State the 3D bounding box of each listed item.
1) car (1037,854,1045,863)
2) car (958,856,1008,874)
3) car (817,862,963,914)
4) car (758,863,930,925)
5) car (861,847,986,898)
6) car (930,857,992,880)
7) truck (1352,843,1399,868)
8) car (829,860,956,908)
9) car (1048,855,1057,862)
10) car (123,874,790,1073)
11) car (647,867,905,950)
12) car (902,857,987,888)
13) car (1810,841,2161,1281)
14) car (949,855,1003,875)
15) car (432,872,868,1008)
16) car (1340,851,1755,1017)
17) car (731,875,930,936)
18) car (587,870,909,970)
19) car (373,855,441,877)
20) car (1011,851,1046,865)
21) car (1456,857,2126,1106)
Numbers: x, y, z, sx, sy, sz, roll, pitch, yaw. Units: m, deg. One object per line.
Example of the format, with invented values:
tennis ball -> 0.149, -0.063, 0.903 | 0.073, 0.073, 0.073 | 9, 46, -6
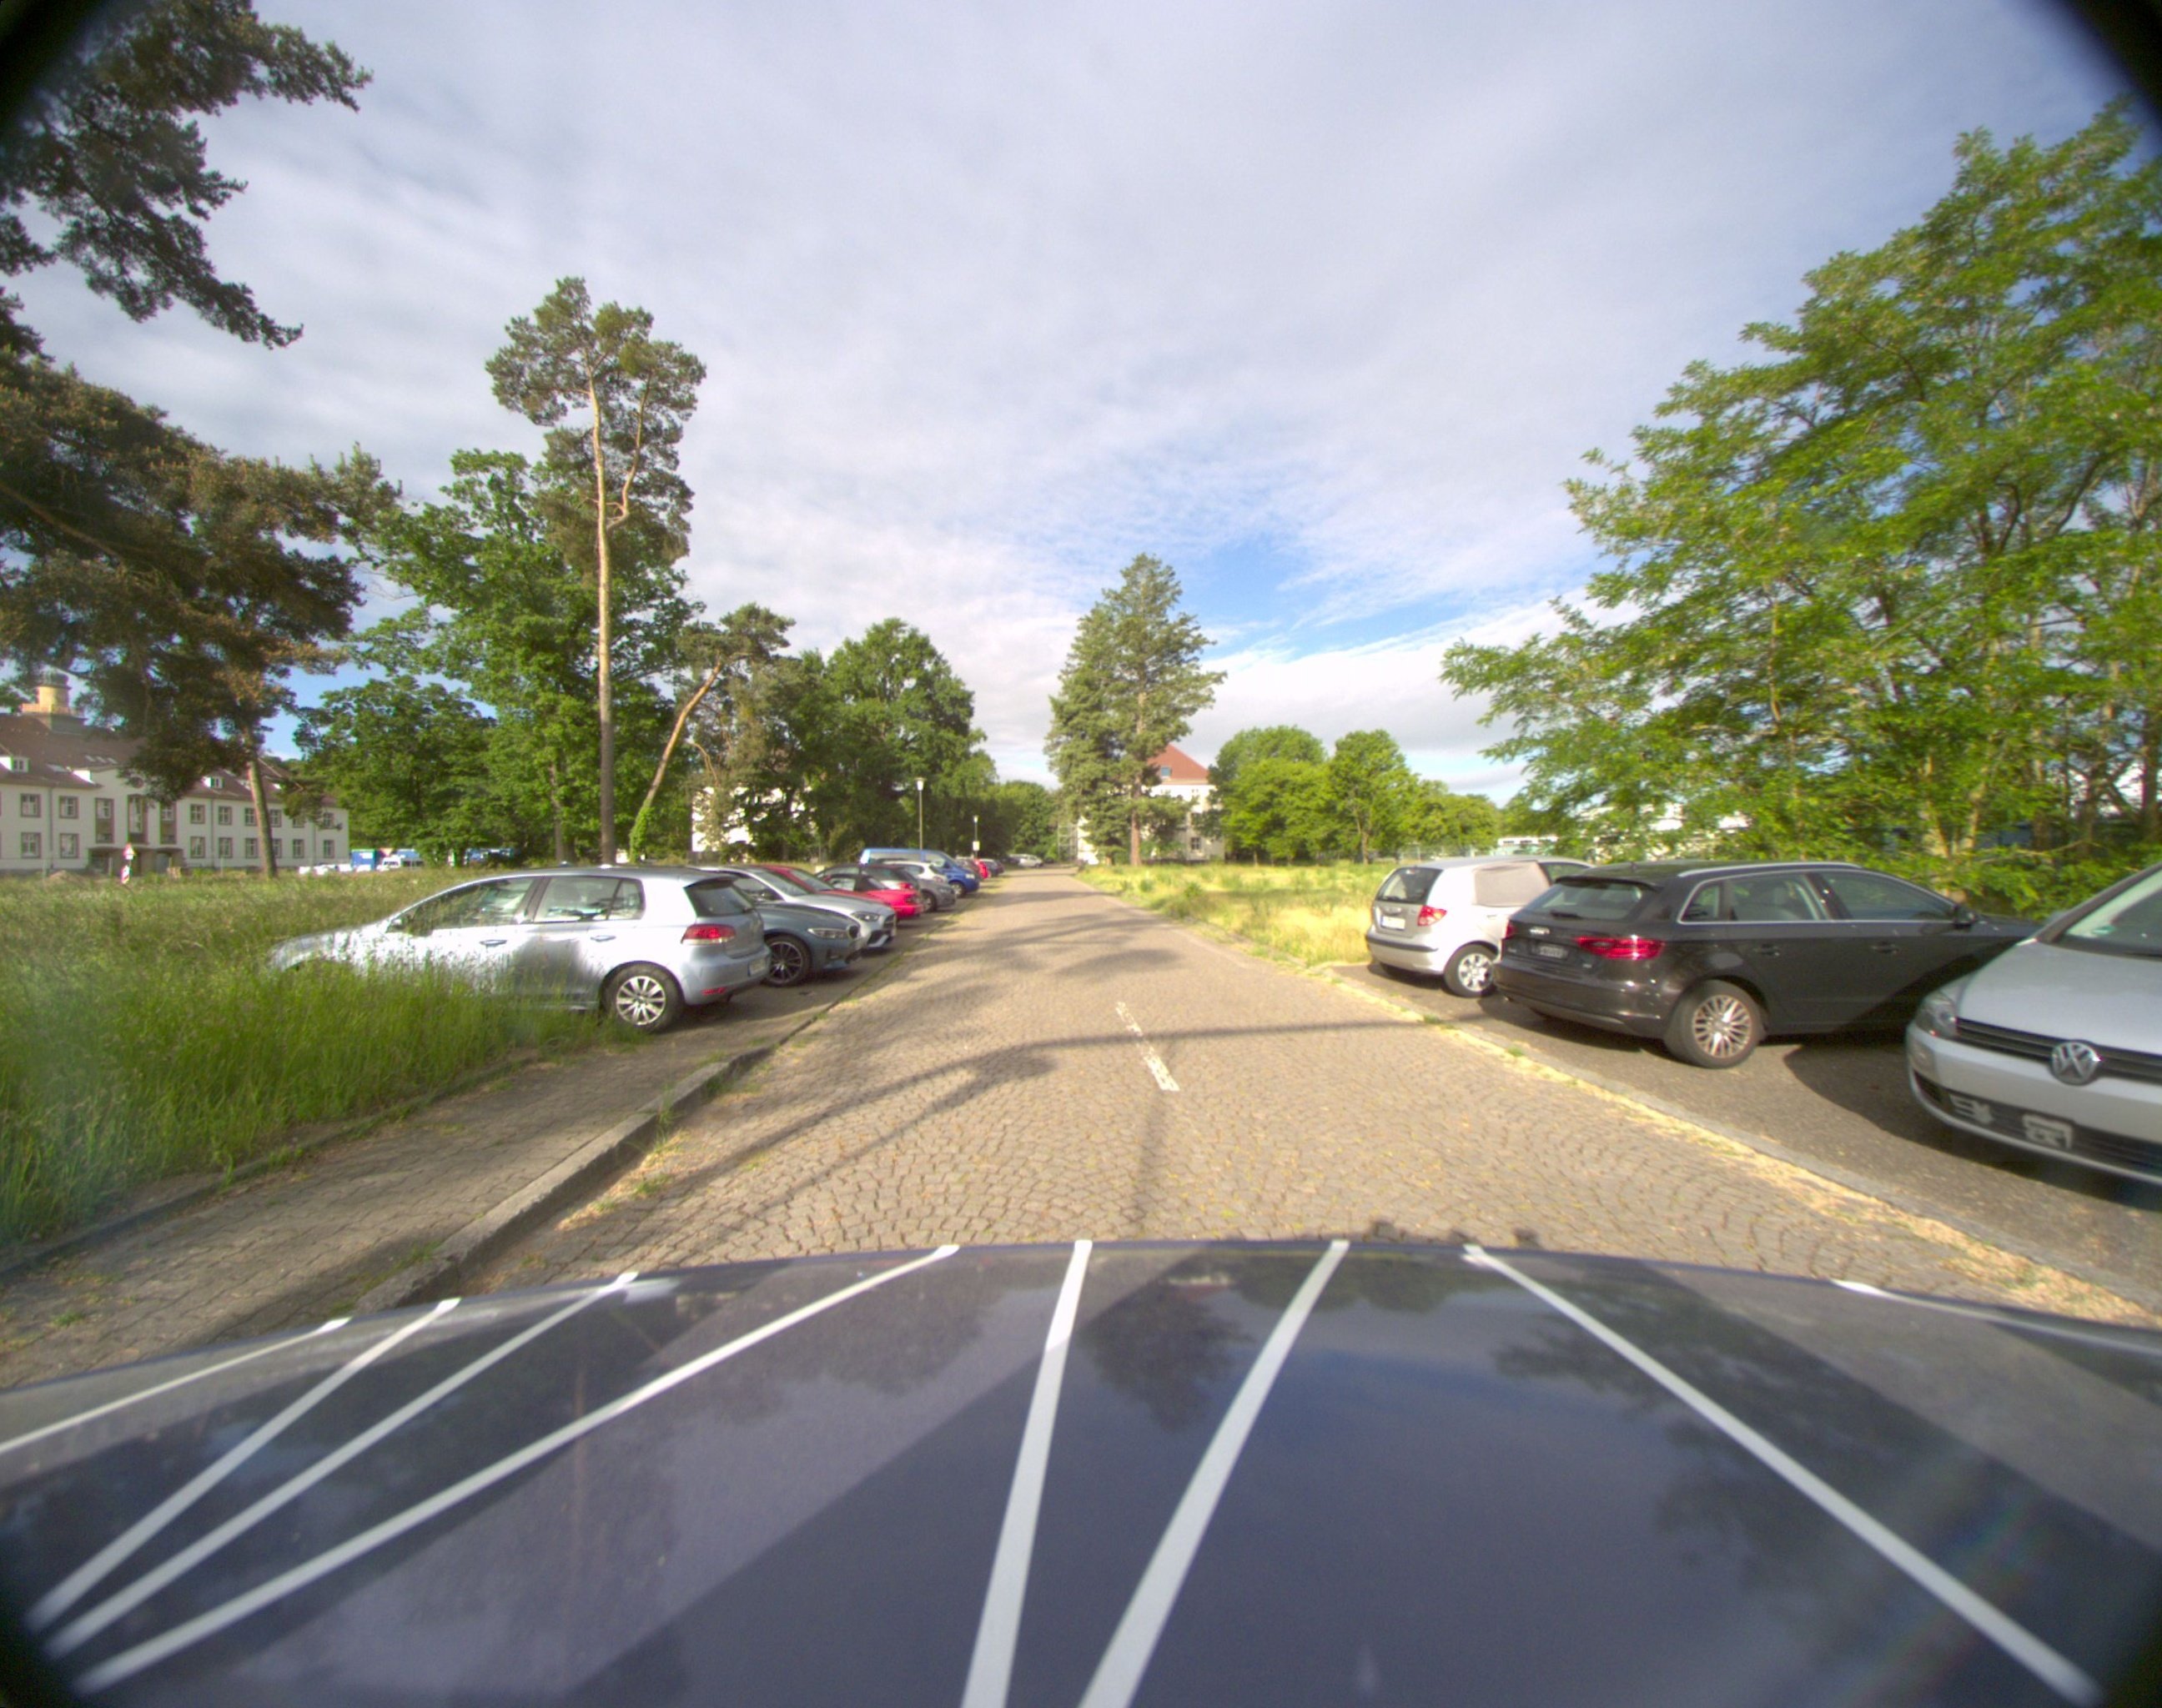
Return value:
car -> -9.466, 1.043, 180.258 | 1.875, 1.888, 3.998 | -1, 1, -4
car -> -8.345, 0.928, 65.058 | 4.036, 1.442, 1.782 | 0, 1, -2
car -> -5.641, 1.001, 22.838 | 3.962, 1.459, 1.830 | 0, 1, -4
car -> -6.084, 1.017, 19.880 | 3.962, 1.486, 1.771 | 0, 1, -4
car -> -6.337, 0.742, 31.013 | 4.747, 1.917, 1.991 | 1, 1, -5
car -> -7.860, 0.949, 50.080 | 3.888, 1.464, 1.686 | 1, 1, -5
truck -> 32.418, 0.140, 83.949 | 2.418, 2.572, 6.957 | -1, 0, -1
car -> -6.280, 0.995, 25.658 | 3.885, 1.521, 1.807 | 0, 1, -4
car -> -6.757, 1.070, 180.664 | 1.999, 1.762, 4.107 | -1, 1, -4
car -> -5.396, 0.981, 7.210 | 4.558, 1.497, 1.932 | 0, 1, -6
car -> -5.795, 1.015, 14.873 | 4.353, 1.465, 1.739 | 0, 1, -4
car -> -7.107, 0.950, 39.849 | 4.203, 1.580, 1.877 | 0, 1, -5
car -> 6.165, 0.746, 3.518 | 4.134, 1.590, 1.857 | -3, 1, -8
car -> -8.331, 0.892, 60.353 | 4.137, 1.560, 1.745 | 0, 1, -4
car -> -5.223, 1.005, 9.853 | 4.521, 1.465, 1.893 | 0, 1, -8
car -> 5.214, 0.807, 8.814 | 3.694, 1.465, 1.848 | -3, 1, -5
car -> -5.563, 1.136, 17.273 | 3.962, 1.253, 1.726 | 0, 1, -4
car -> -5.302, 1.028, 12.632 | 4.520, 1.465, 1.848 | 0, 1, -4
car -> -73.491, 1.279, 82.953 | 2.167, 2.286, 5.960 | 0, 0, -1
car -> -7.855, 0.614, 114.139 | 5.080, 2.029, 1.999 | -1, 0, -4
car -> 5.434, 0.863, 6.170 | 3.840, 1.421, 1.858 | -3, 1, -5
